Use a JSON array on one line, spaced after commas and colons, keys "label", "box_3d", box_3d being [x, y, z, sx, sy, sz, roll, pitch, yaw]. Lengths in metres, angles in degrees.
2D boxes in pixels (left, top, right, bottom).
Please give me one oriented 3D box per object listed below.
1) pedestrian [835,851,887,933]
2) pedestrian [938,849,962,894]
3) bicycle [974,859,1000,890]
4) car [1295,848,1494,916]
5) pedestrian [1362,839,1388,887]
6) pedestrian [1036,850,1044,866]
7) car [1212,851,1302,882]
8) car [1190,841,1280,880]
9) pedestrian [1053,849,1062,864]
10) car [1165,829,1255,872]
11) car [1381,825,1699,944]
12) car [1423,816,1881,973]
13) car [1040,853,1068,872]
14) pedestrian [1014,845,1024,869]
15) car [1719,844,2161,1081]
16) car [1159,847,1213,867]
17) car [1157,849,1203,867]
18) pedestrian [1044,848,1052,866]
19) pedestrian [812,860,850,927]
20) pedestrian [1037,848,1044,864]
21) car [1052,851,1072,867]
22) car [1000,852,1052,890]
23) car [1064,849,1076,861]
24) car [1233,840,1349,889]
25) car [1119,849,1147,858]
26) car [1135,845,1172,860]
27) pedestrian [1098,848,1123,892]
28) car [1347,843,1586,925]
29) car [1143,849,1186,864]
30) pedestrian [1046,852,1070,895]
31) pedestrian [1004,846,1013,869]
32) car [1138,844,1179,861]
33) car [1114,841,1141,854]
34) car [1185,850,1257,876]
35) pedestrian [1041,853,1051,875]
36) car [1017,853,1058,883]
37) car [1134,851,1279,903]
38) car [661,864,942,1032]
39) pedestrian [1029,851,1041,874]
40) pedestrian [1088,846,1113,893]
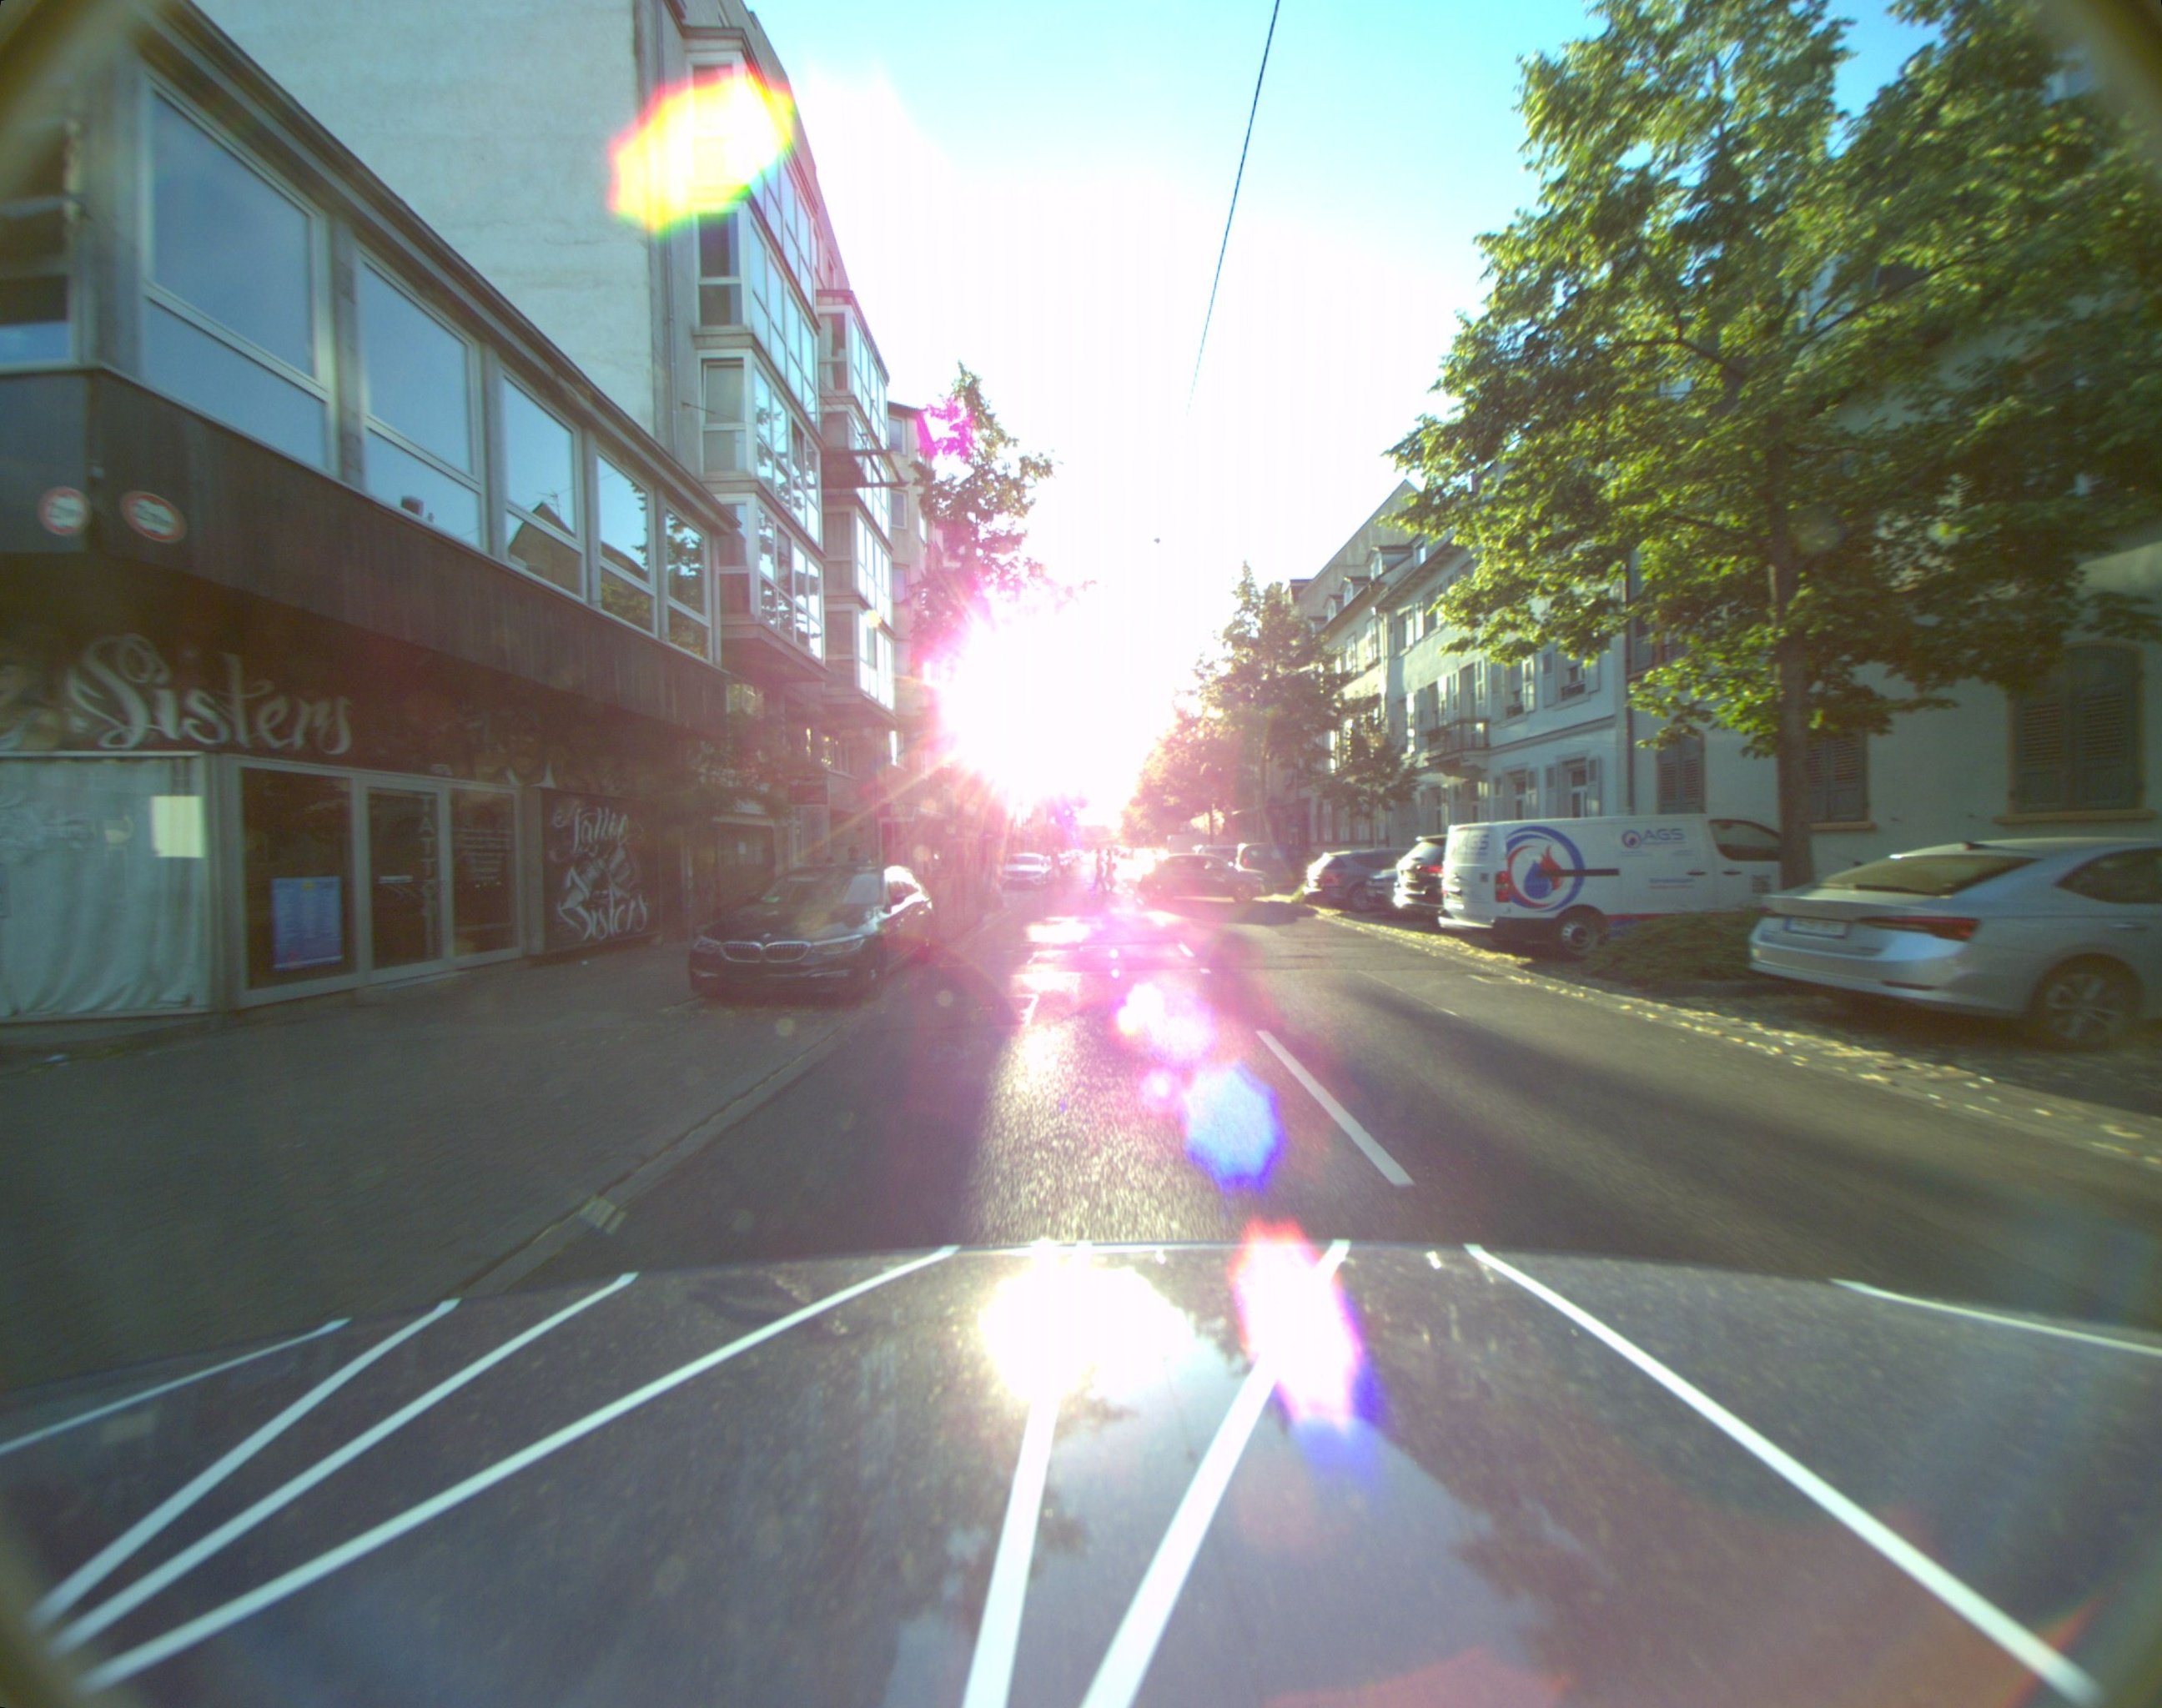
[{"label": "pedestrian", "box_3d": [-4.946, 0.834, 17.117, 0.858, 1.784, 0.997, 0, 1, 1]}, {"label": "pedestrian", "box_3d": [-5.060, 0.672, 29.302, 0.790, 1.694, 0.700, 0, 1, 1]}, {"label": "bicycle", "box_3d": [-4.015, 0.872, 32.642, 0.777, 1.255, 2.050, 1, 1, 2]}, {"label": "car", "box_3d": [7.518, 0.645, 18.557, 4.047, 1.475, 1.963, -1, 0, 1]}, {"label": "pedestrian", "box_3d": [11.265, 0.337, 29.122, 0.664, 1.791, 0.780, -1, 1, 1]}, {"label": "pedestrian", "box_3d": [-3.811, 0.408, 70.390, 0.626, 1.480, 0.640, 0, 1, 2]}, {"label": "car", "box_3d": [8.744, 0.603, 37.979, 4.162, 1.431, 1.594, -2, 0, 2]}, {"label": "car", "box_3d": [8.206, 0.345, 40.819, 4.510, 1.942, 1.919, -2, 1, 3]}, {"label": "pedestrian", "box_3d": [-2.791, 0.319, 90.795, 1.049, 1.775, 0.945, 2, 1, 1]}, {"label": "car", "box_3d": [8.649, -0.257, 51.443, 5.672, 2.606, 2.171, -3, 1, 1]}, {"label": "car", "box_3d": [7.907, 0.499, 13.436, 4.439, 1.859, 1.894, -1, 0, 2]}, {"label": "car", "box_3d": [7.687, 0.515, 10.628, 4.882, 1.897, 1.974, -1, 0, 1]}, {"label": "car", "box_3d": [-2.167, 0.672, 61.895, 1.778, 1.431, 5.000, 1, 0, 3]}, {"label": "pedestrian", "box_3d": [-4.917, 0.235, 60.302, 0.627, 1.857, 0.976, 1, 1, 1]}, {"label": "car", "box_3d": [7.950, 0.707, 5.857, 4.488, 1.476, 1.734, -2, 0, 3]}, {"label": "car", "box_3d": [8.664, 0.249, 62.934, 4.196, 1.474, 1.970, -3, 0, 0]}, {"label": "car", "box_3d": [9.168, 0.347, 70.426, 3.925, 1.440, 1.697, -3, 0, -1]}, {"label": "pedestrian", "box_3d": [-3.070, 0.270, 70.535, 0.626, 1.667, 0.640, 0, 1, 2]}, {"label": "pedestrian", "box_3d": [-5.807, 0.913, 17.677, 0.612, 1.516, 0.773, 0, 1, 1]}, {"label": "pedestrian", "box_3d": [-4.637, 0.251, 86.798, 0.756, 1.748, 0.812, -1, 1, 1]}, {"label": "car", "box_3d": [-1.817, 0.491, 74.192, 1.726, 1.484, 4.752, 1, 0, 0]}, {"label": "car", "box_3d": [-2.457, 0.724, 34.921, 1.884, 1.565, 4.692, 1, 0, 2]}, {"label": "car", "box_3d": [-1.669, 0.133, 116.517, 1.758, 1.638, 3.793, 2, 0, 1]}, {"label": "car", "box_3d": [8.341, 0.403, 30.460, 4.147, 1.796, 1.807, -1, 0, 3]}, {"label": "car", "box_3d": [8.989, -0.119, 130.929, 4.579, 1.548, 1.809, -1, 0, -37]}, {"label": "car", "box_3d": [9.258, -0.163, 97.573, 4.567, 1.772, 1.946, -1, 1, 0]}, {"label": "pedestrian", "box_3d": [1.146, 0.614, 29.467, 0.924, 1.685, 0.762, -1, 1, 2]}, {"label": "car", "box_3d": [7.984, 0.604, 16.080, 4.046, 1.546, 1.965, -1, 0, 4]}, {"label": "car", "box_3d": [9.085, 0.252, 82.890, 4.393, 1.414, 1.822, -3, 0, 1]}, {"label": "pedestrian", "box_3d": [-0.886, 0.725, 29.211, 0.829, 1.629, 0.827, -1, 1, 2]}, {"label": "pedestrian", "box_3d": [-5.727, 0.258, 60.346, 0.590, 1.799, 0.835, 1, 1, 1]}, {"label": "car", "box_3d": [9.190, -0.186, 90.645, 4.718, 1.800, 2.053, -3, 0, 2]}, {"label": "car", "box_3d": [9.106, -1.238, 147.869, 4.782, 2.344, 2.153, -1, 1, -27]}, {"label": "car", "box_3d": [8.459, 0.540, 46.115, 3.997, 1.396, 1.749, -2, 2, 0]}, {"label": "pedestrian", "box_3d": [-2.449, 0.705, 53.438, 0.633, 1.476, 0.795, 1, 1, 1]}, {"label": "car", "box_3d": [-2.301, 0.711, 41.287, 1.846, 1.472, 5.190, 1, 0, 1]}, {"label": "car", "box_3d": [3.815, 0.691, 23.017, 4.063, 1.453, 1.688, -1, 0, 19]}, {"label": "car", "box_3d": [-3.097, 0.931, 9.648, 1.833, 1.479, 4.848, 1, 0, -1]}, {"label": "pedestrian", "box_3d": [-3.228, 0.617, 53.496, 0.709, 1.589, 0.795, 1, 1, 1]}, {"label": "pedestrian", "box_3d": [0.738, 0.574, 28.706, 0.924, 1.749, 0.762, 0, 1, 2]}]
